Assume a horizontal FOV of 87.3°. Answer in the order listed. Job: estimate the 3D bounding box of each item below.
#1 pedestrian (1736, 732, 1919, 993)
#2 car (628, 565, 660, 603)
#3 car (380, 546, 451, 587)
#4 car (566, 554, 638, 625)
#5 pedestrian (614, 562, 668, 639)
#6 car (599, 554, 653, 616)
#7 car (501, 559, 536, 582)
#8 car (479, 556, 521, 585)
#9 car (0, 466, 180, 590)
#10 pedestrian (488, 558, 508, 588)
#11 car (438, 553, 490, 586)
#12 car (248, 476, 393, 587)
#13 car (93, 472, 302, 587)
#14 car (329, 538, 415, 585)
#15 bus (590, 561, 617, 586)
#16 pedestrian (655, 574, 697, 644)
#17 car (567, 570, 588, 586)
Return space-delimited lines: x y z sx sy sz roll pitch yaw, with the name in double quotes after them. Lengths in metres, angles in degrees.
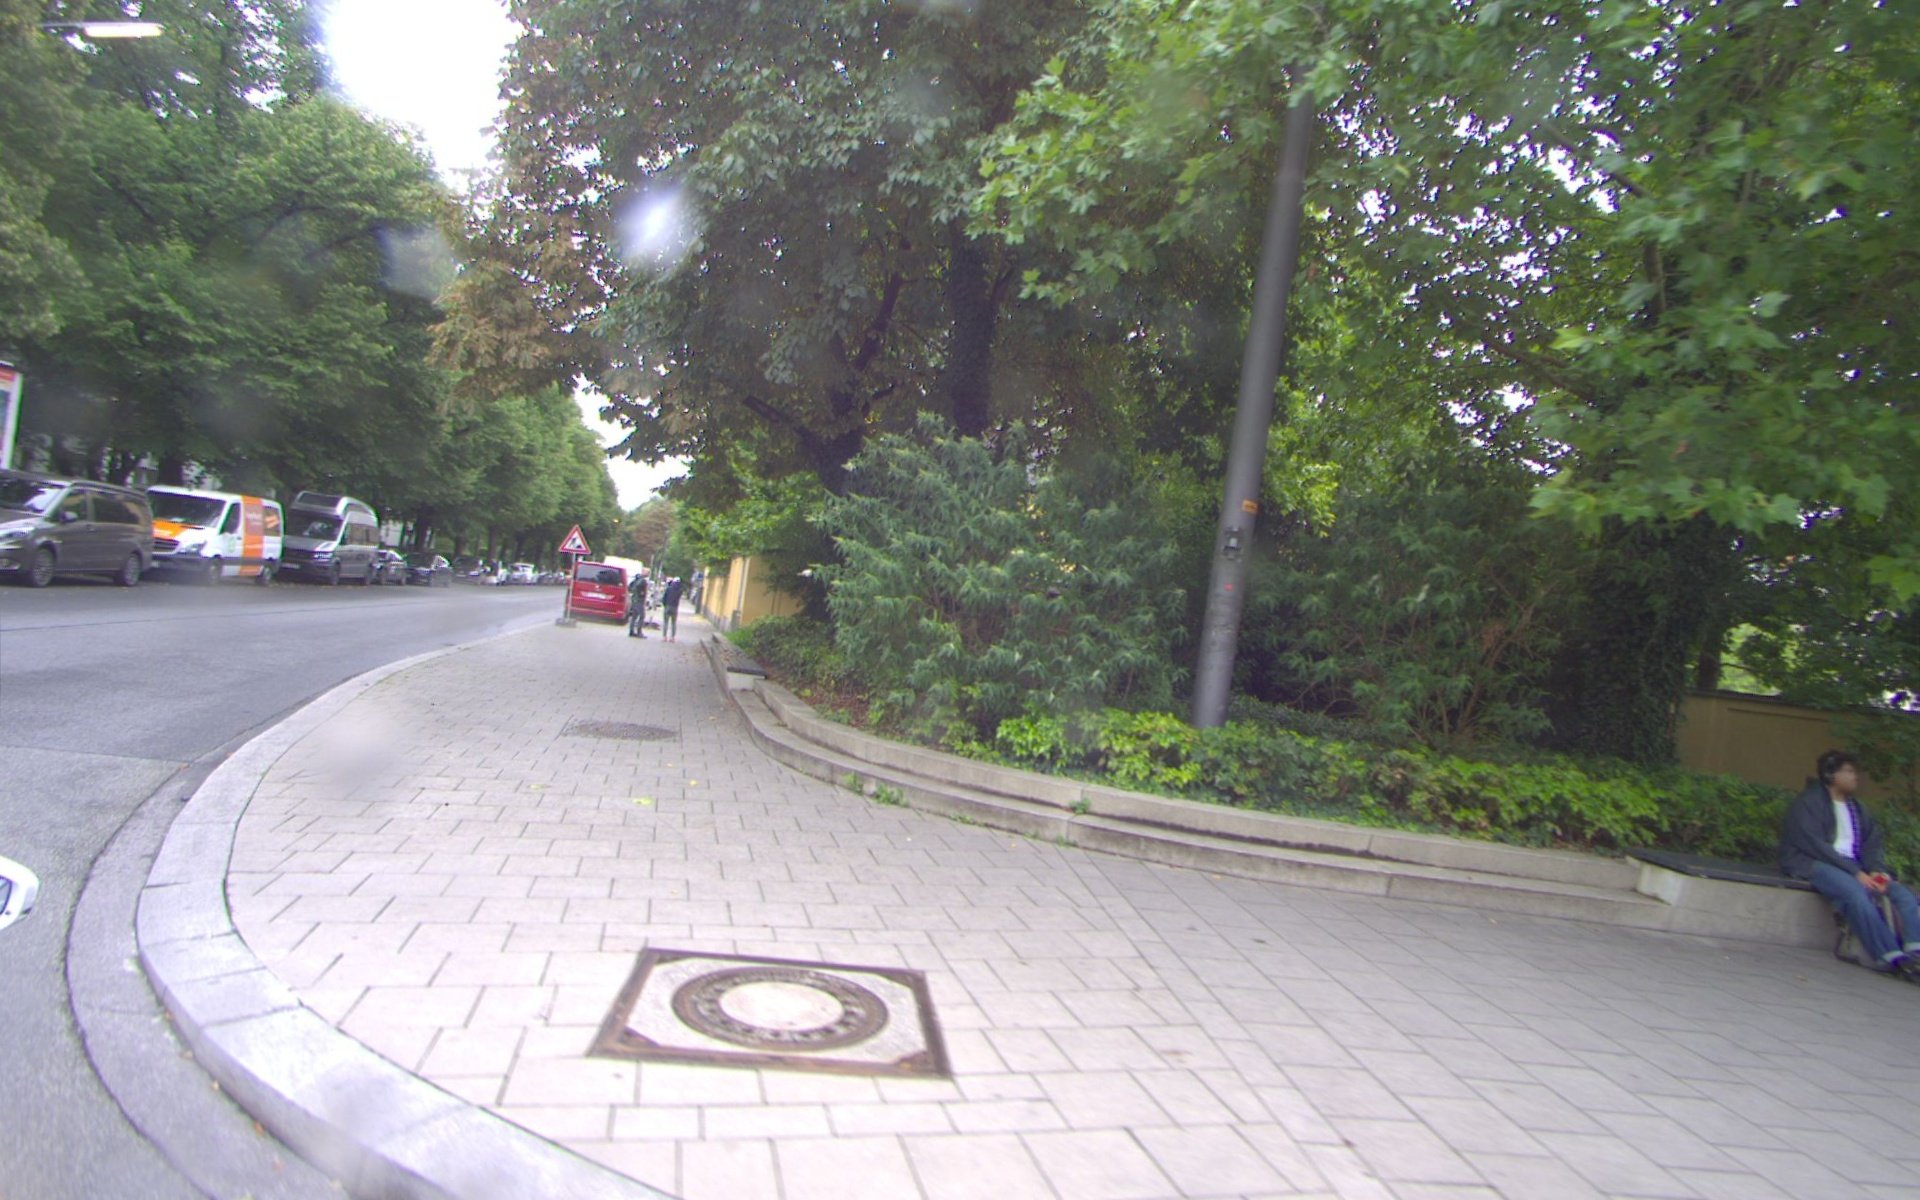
5.894 1.647 6.439 0.758 1.373 1.130 8 0 -7 "pedestrian"
-24.931 -1.313 79.204 1.821 2.653 4.363 8 -1 -21 "car"
-24.020 -1.470 44.523 1.972 1.436 4.112 9 -1 -19 "car"
-11.934 -0.359 33.760 1.890 1.959 4.950 8 -1 -18 "car"
-8.358 0.013 26.334 0.817 1.858 0.940 8 0 -43 "pedestrian"
-16.173 -0.704 48.933 1.970 2.588 5.413 8 -1 -16 "car"
-34.430 -2.278 78.576 1.972 1.436 3.984 9 -1 -19 "car"
-31.045 -1.980 67.974 1.972 1.639 4.112 9 -1 -19 "car"
-16.686 -1.285 18.247 2.002 1.931 5.646 7 -1 -17 "car"
-27.649 -1.621 60.274 0.875 1.616 0.819 8 0 -24 "pedestrian"
-28.215 -1.712 57.368 1.972 1.504 4.112 9 -1 -19 "car"
-21.082 -2.114 33.532 2.148 3.038 6.212 8 -1 -17 "car"
-18.725 -1.603 25.119 2.058 2.292 5.585 6 -1 -16 "car"
-22.753 -1.449 39.121 1.972 1.436 3.984 9 -1 -19 "car"
-49.550 -3.678 139.801 2.908 2.953 8.200 9 -1 -21 "bus"
-7.354 0.236 26.049 0.630 1.687 0.690 8 0 -38 "pedestrian"
-44.000 -2.542 115.799 1.972 1.436 3.984 9 -1 -19 "car"
